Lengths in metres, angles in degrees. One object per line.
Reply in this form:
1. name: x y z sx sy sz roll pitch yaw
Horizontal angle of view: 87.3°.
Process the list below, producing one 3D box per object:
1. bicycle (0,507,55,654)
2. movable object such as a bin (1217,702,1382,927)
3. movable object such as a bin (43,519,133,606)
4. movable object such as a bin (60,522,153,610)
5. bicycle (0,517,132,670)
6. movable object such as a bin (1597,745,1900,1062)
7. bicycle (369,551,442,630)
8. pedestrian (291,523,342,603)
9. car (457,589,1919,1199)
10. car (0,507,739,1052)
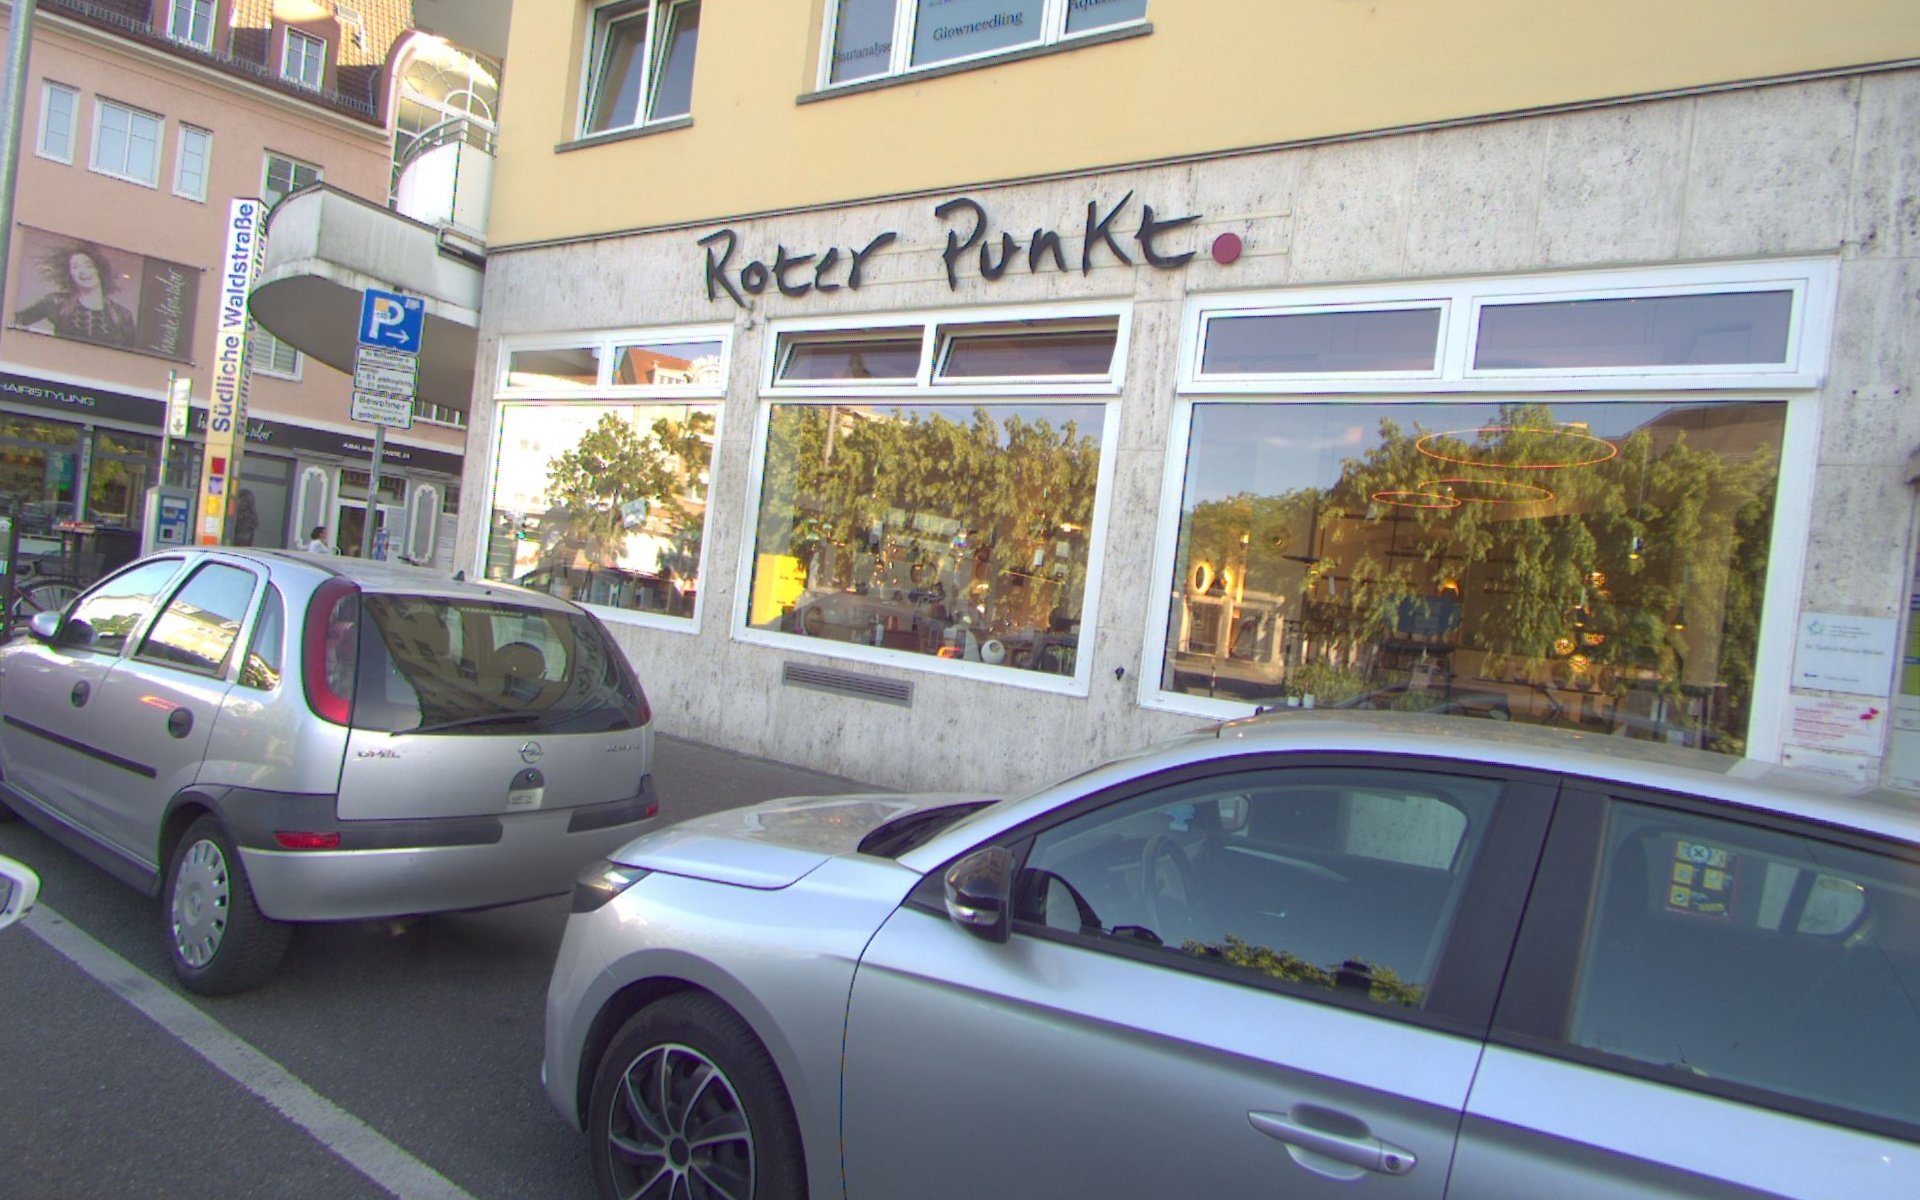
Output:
1. bicycle: -9.099 -0.235 8.699 0.778 1.284 1.721 7 1 37
2. movable object such as a bin: 1.878 1.119 5.519 0.592 1.041 0.811 7 0 32
3. movable object such as a bin: -12.427 -0.527 14.346 0.617 1.105 0.734 6 -1 34
4. movable object such as a bin: -11.891 -0.469 14.025 0.617 1.105 0.754 6 -1 34
5. bicycle: -8.095 -0.084 8.225 0.681 1.208 1.885 8 1 37
6. movable object such as a bin: 3.433 1.267 4.488 0.879 1.066 0.751 7 0 32
7. bicycle: -9.915 -0.197 17.948 0.656 1.213 2.187 7 -1 -39
8. pedestrian: -13.588 -0.785 21.243 0.743 1.571 0.692 7 0 -35
9. car: 0.789 0.927 2.306 3.643 1.415 1.652 7 -1 30
10. car: -2.929 0.481 4.462 3.583 1.397 1.616 7 -2 32
